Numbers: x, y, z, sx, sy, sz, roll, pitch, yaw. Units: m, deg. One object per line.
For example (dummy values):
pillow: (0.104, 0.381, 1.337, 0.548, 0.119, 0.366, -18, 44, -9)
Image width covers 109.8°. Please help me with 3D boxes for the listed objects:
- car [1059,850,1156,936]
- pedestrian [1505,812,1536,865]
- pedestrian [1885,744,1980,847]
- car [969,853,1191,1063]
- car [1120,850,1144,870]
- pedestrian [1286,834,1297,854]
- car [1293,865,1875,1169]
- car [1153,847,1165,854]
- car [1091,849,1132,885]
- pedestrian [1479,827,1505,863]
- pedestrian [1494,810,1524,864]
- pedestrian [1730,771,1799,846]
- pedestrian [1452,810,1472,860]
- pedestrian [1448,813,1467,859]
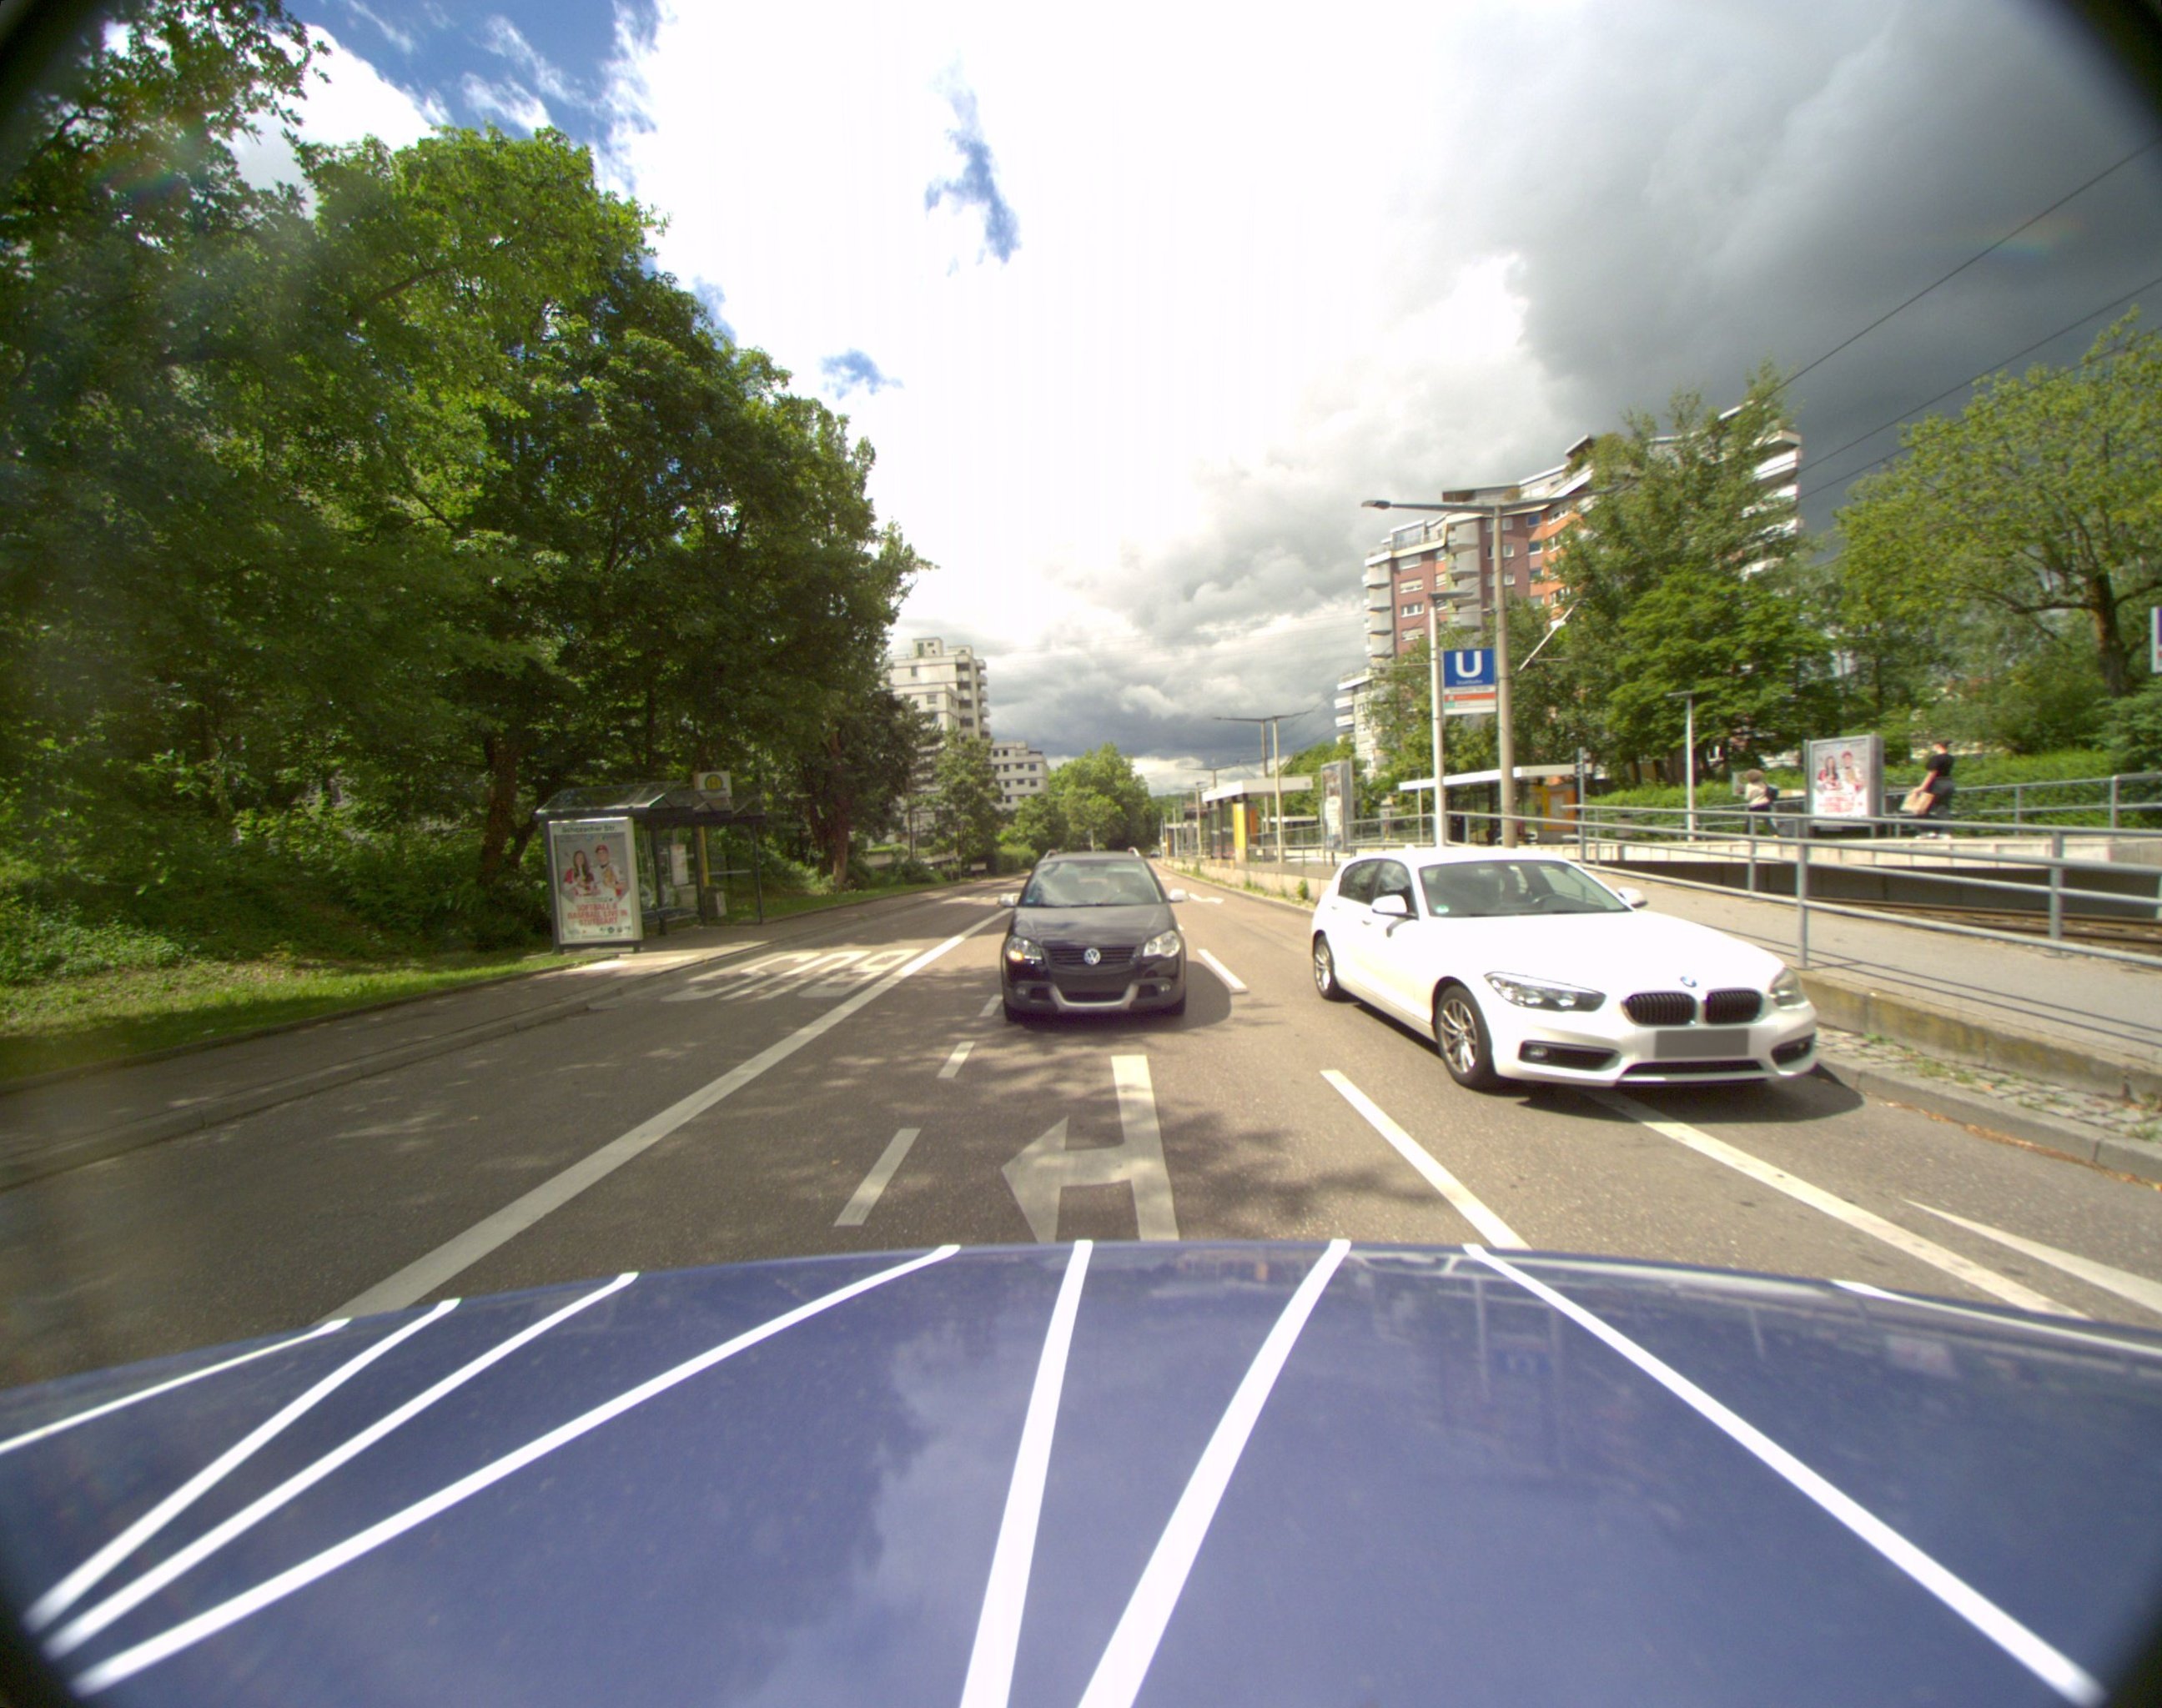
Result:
car: (0.628, 0.758, 16.768, 1.819, 1.484, 3.999, -2, 2, 3)
pedestrian: (16.259, -0.574, 28.085, 0.771, 1.921, 0.573, -2, 2, -1)
pedestrian: (15.410, -1.037, 13.771, 0.865, 1.764, 0.747, -2, 2, 0)
car: (0.151, 0.821, 7.815, 1.681, 1.529, 3.794, -2, 1, 5)
car: (4.146, 0.448, 61.499, 1.845, 1.409, 4.000, -2, 1, 4)
pedestrian: (18.328, -0.913, 66.213, 0.774, 1.696, 0.766, -2, 2, 9)
car: (3.070, 0.835, 5.893, 1.793, 1.442, 4.276, 0, 0, 2)
car: (13.588, -0.621, 132.461, 1.805, 1.208, 4.022, -2, 1, 4)
car: (1.470, 0.616, 37.615, 1.846, 1.553, 3.999, -2, 1, 1)
pedestrian: (16.390, -0.367, 30.322, 0.645, 1.407, 0.658, -2, 2, 1)
pedestrian: (16.401, -0.640, 29.123, 0.780, 2.002, 0.584, -2, 2, 1)
pedestrian: (15.231, -1.002, 16.946, 0.865, 1.597, 0.747, -2, 2, 0)
pedestrian: (16.544, -0.811, 32.996, 0.532, 2.129, 0.608, -2, 2, 4)
pedestrian: (16.627, -0.784, 33.588, 0.517, 2.002, 0.557, -2, 2, 1)
